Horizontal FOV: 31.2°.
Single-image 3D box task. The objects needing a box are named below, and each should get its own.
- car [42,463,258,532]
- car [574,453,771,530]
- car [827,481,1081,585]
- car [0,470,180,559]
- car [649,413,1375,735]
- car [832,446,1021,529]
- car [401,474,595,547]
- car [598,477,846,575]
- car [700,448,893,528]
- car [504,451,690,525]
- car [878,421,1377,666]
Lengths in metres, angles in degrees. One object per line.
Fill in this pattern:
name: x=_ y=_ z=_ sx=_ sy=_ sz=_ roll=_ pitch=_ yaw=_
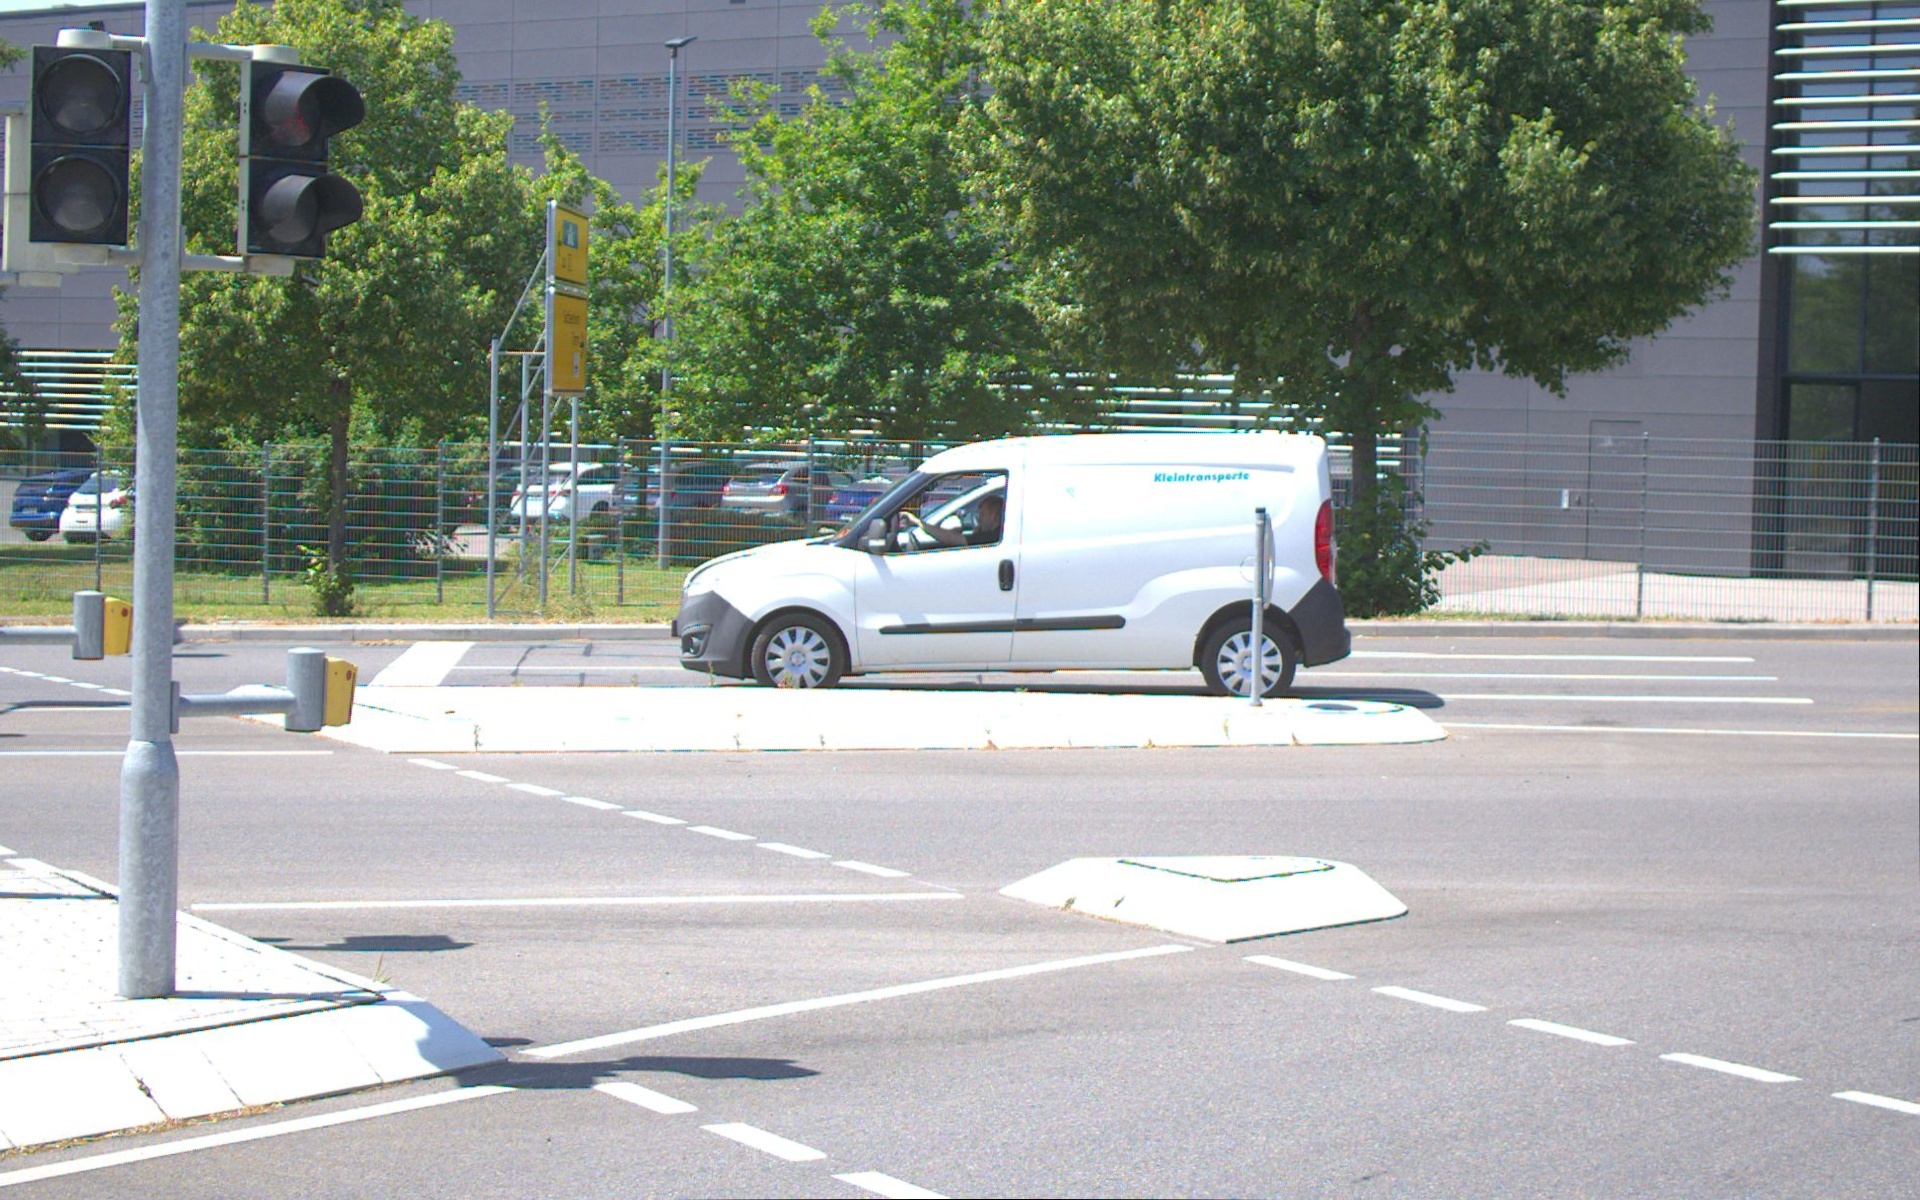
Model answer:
car: x=-14.223 y=-1.788 z=60.490 sx=1.613 sy=1.161 sz=3.628 roll=0 pitch=1 yaw=31
car: x=-5.777 y=-2.170 z=69.459 sx=1.997 sy=1.481 sz=3.993 roll=0 pitch=1 yaw=31
car: x=-0.043 y=-1.001 z=51.243 sx=1.997 sy=1.481 sz=3.993 roll=0 pitch=1 yaw=31
car: x=-20.305 y=-1.973 z=79.975 sx=1.997 sy=2.007 sz=3.993 roll=0 pitch=1 yaw=31
car: x=0.365 y=-0.230 z=24.204 sx=4.855 sy=1.935 sz=2.001 roll=2 pitch=6 yaw=2
car: x=-0.615 y=-2.147 z=66.405 sx=1.817 sy=1.523 sz=3.993 roll=0 pitch=1 yaw=31
car: x=-9.746 y=-1.878 z=72.762 sx=1.997 sy=1.481 sz=3.993 roll=0 pitch=1 yaw=31
car: x=-3.735 y=-1.170 z=54.586 sx=1.997 sy=1.481 sz=3.993 roll=0 pitch=1 yaw=31
car: x=-3.206 y=-2.209 z=68.195 sx=1.917 sy=1.512 sz=3.993 roll=0 pitch=2 yaw=31
car: x=-7.495 y=-2.300 z=71.256 sx=1.769 sy=1.455 sz=3.993 roll=0 pitch=1 yaw=31
car: x=1.333 y=-0.492 z=27.870 sx=3.852 sy=1.700 sz=2.001 roll=2 pitch=6 yaw=2
